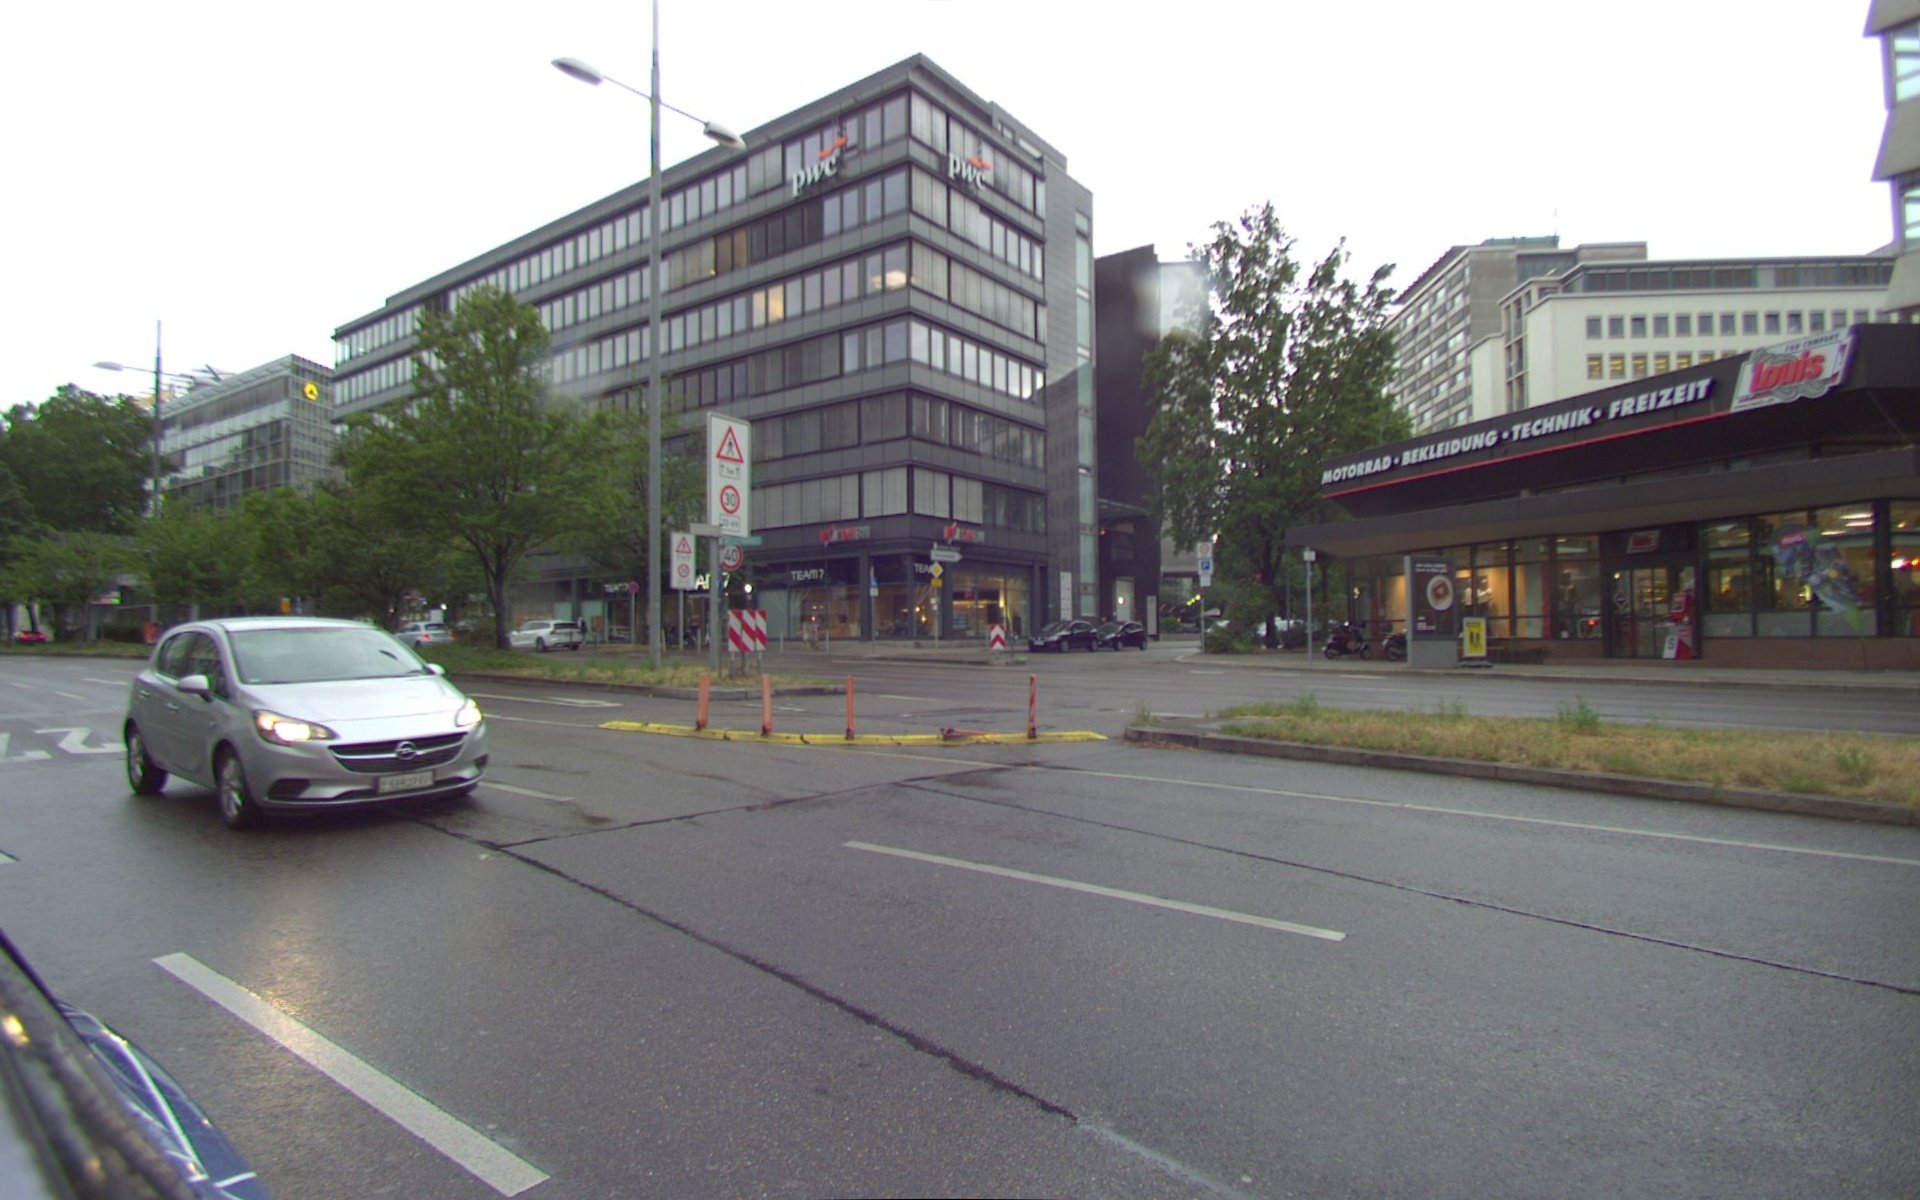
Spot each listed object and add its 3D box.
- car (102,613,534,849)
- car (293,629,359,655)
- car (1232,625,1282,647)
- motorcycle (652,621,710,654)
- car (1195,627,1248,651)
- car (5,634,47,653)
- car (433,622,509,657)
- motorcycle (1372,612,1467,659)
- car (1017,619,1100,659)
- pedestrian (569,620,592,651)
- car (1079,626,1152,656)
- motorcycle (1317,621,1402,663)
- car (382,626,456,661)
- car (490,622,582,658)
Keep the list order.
[{"bbox_3d":[-5.316,0.867,8.211,3.866,1.454,1.830,-2,-1,39],"label":"car"},{"bbox_3d":[-38.254,2.499,61.055,4.298,1.455,1.794,-2,-1,34],"label":"car"},{"bbox_3d":[19.395,2.341,65.954,1.844,1.298,3.950,-1,-1,37],"label":"car"},{"bbox_3d":[-12.406,1.663,44.998,2.344,1.404,0.857,-1,2,10],"label":"motorcycle"},{"bbox_3d":[15.941,2.355,61.542,1.843,1.298,3.951,-1,-1,36],"label":"car"},{"bbox_3d":[-77.983,3.629,84.473,4.478,1.556,1.973,-2,-2,40],"label":"car"},{"bbox_3d":[-24.872,1.994,51.395,4.304,1.673,1.791,-2,-1,38],"label":"car"},{"bbox_3d":[14.282,1.097,31.446,2.843,1.384,0.806,-1,-1,-16],"label":"motorcycle"},{"bbox_3d":[4.499,1.727,45.643,1.996,1.652,3.951,-1,-1,36],"label":"car"},{"bbox_3d":[-20.273,1.887,54.045,0.964,1.650,0.776,-2,-2,36],"label":"pedestrian"},{"bbox_3d":[7.613,1.957,49.261,1.844,1.298,3.950,-1,-1,37],"label":"car"},{"bbox_3d":[13.564,1.397,34.373,2.773,1.343,0.725,-1,-1,-15],"label":"motorcycle"},{"bbox_3d":[-25.690,2.064,48.022,3.685,1.585,1.767,-2,-2,37],"label":"car"},{"bbox_3d":[-20.004,1.881,47.662,4.764,1.496,1.792,-2,2,37],"label":"car"}]
